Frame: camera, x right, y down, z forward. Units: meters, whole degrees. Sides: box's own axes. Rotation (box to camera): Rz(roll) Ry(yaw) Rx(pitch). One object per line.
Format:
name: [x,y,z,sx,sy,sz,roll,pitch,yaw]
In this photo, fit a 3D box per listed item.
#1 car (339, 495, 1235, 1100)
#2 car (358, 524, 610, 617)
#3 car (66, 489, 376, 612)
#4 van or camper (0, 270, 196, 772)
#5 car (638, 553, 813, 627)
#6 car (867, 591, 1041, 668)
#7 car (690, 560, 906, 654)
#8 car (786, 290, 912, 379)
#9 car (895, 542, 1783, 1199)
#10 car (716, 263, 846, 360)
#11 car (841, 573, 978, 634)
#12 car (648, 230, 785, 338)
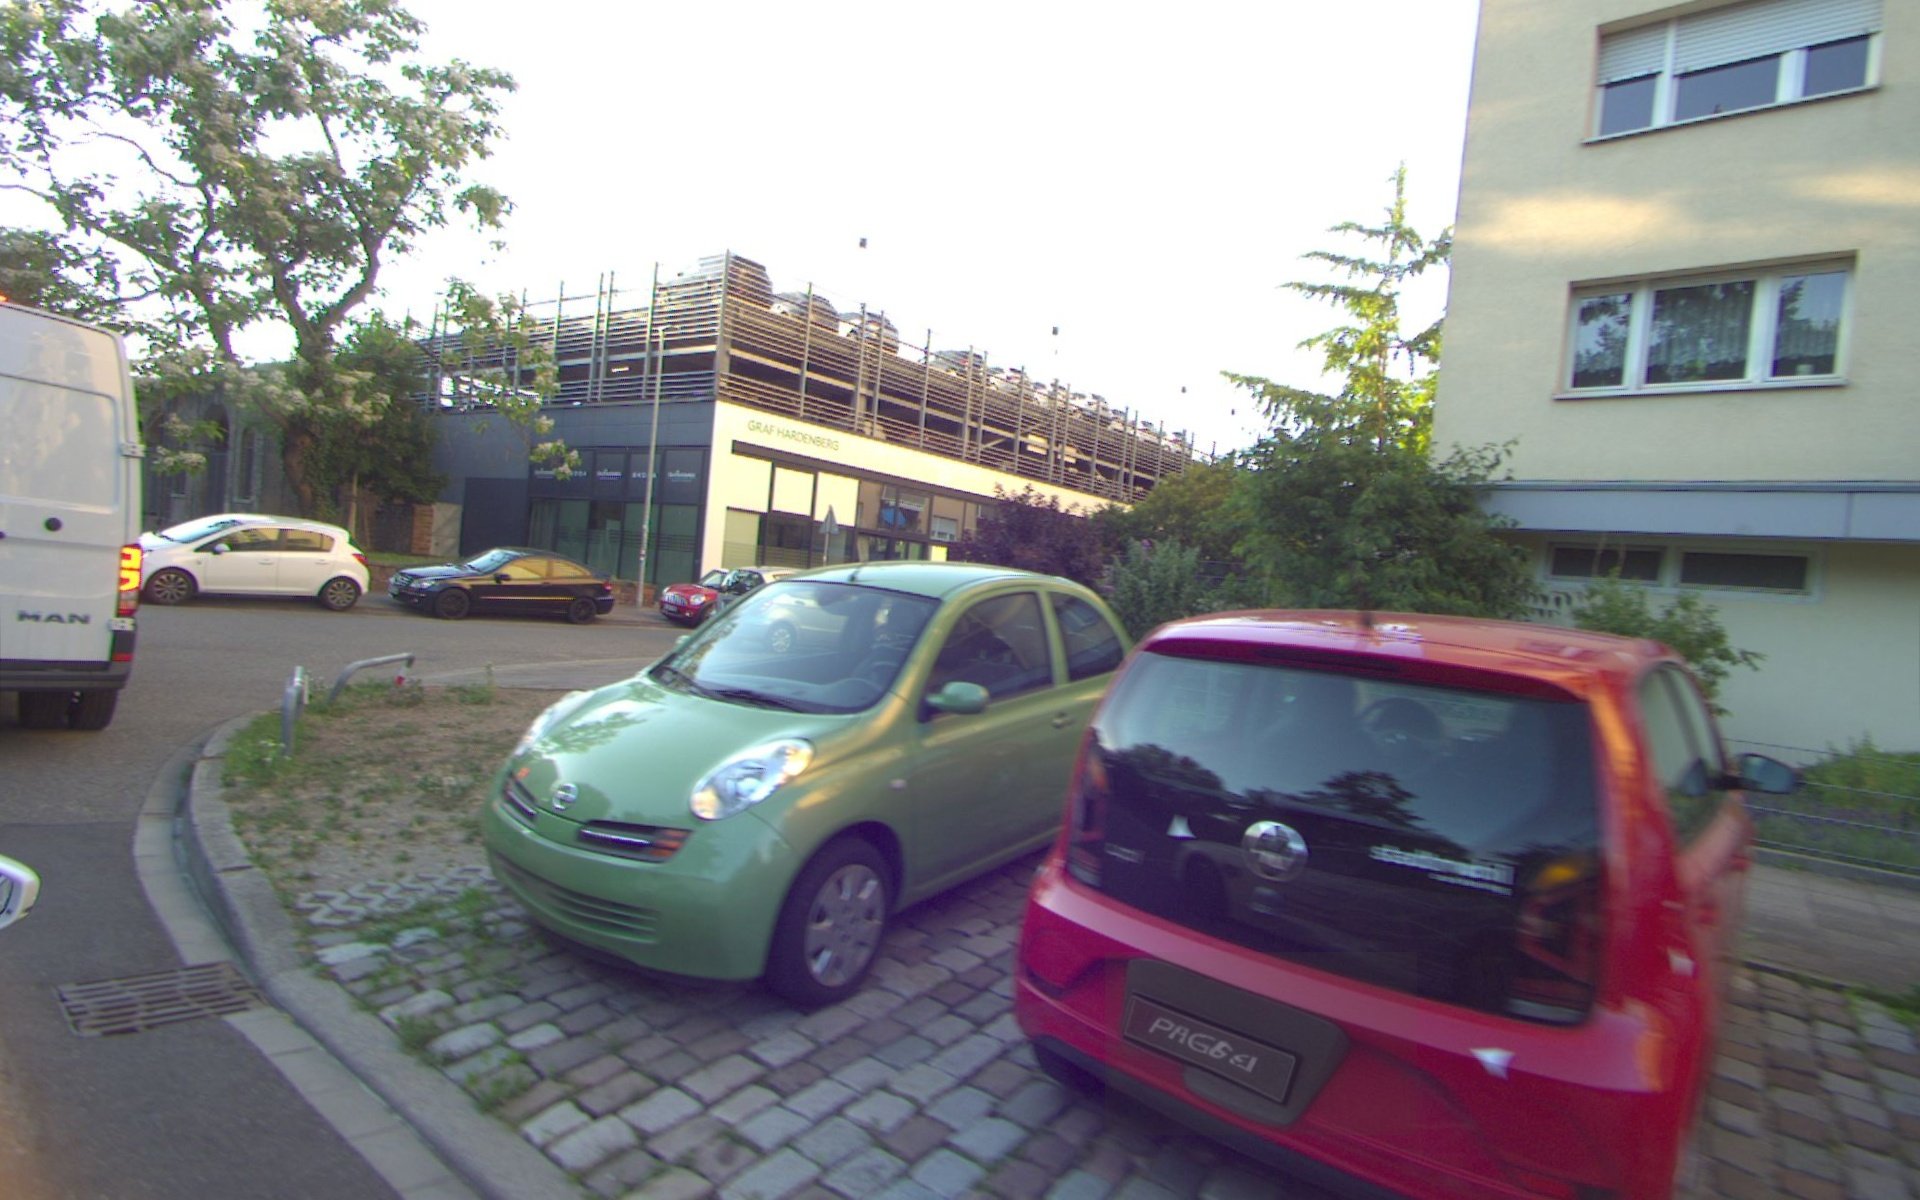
car: [-0.312,0.577,5.064,1.817,1.652,4.400,4,0,35]
car: [-9.697,-0.560,20.749,1.798,1.523,4.282,6,2,42]
car: [-12.680,-0.799,17.462,1.927,1.593,3.855,7,0,35]
van or camper: [-7.708,-0.657,7.136,6.309,2.649,1.993,5,-1,39]
car: [-5.747,-0.216,24.984,1.798,1.523,3.828,6,2,42]
car: [-0.066,0.706,23.032,1.798,1.481,3.828,6,2,42]
car: [-3.097,0.169,19.714,1.798,1.544,3.828,6,2,42]
car: [-3.807,-8.917,34.193,3.946,2.038,1.989,6,0,43]
car: [1.941,0.723,3.930,1.819,1.654,4.390,6,4,39]
car: [-5.786,-9.162,32.276,3.946,2.038,1.989,6,0,43]
car: [-1.445,0.132,29.917,1.798,1.523,3.828,6,2,42]
car: [-7.359,-9.390,30.250,3.946,2.038,1.989,6,0,43]
